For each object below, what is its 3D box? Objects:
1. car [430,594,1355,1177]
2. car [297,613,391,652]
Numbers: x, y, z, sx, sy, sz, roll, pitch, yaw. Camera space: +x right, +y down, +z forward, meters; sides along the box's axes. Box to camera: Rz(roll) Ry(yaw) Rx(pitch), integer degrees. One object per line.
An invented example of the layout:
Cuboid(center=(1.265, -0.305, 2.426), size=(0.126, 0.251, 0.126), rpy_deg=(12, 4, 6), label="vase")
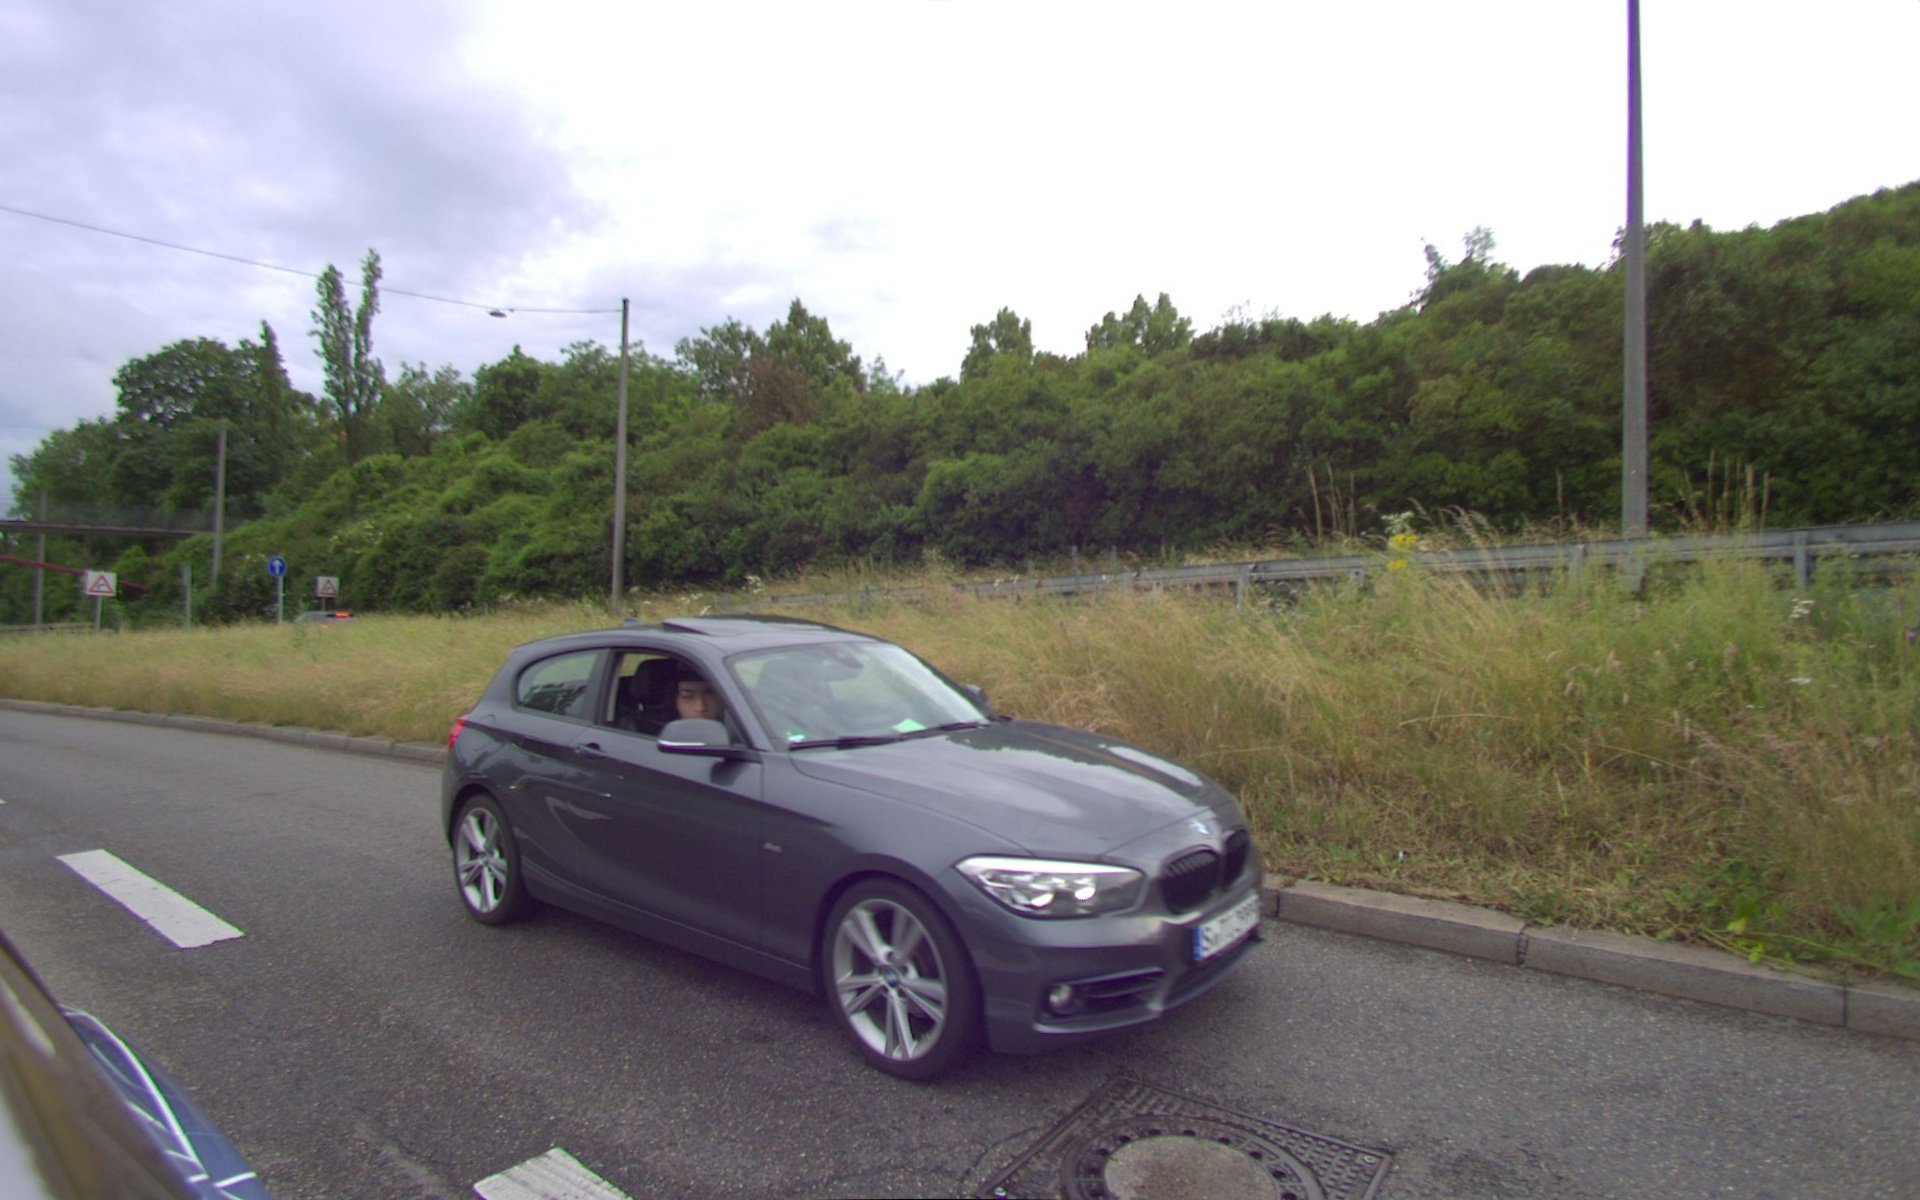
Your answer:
Cuboid(center=(-0.604, 0.737, 4.527), size=(4.110, 1.471, 1.686), rpy_deg=(-1, 0, 40), label="car")
Cuboid(center=(-24.693, 1.260, 40.499), size=(4.283, 1.464, 1.973), rpy_deg=(-1, 0, 40), label="car")
